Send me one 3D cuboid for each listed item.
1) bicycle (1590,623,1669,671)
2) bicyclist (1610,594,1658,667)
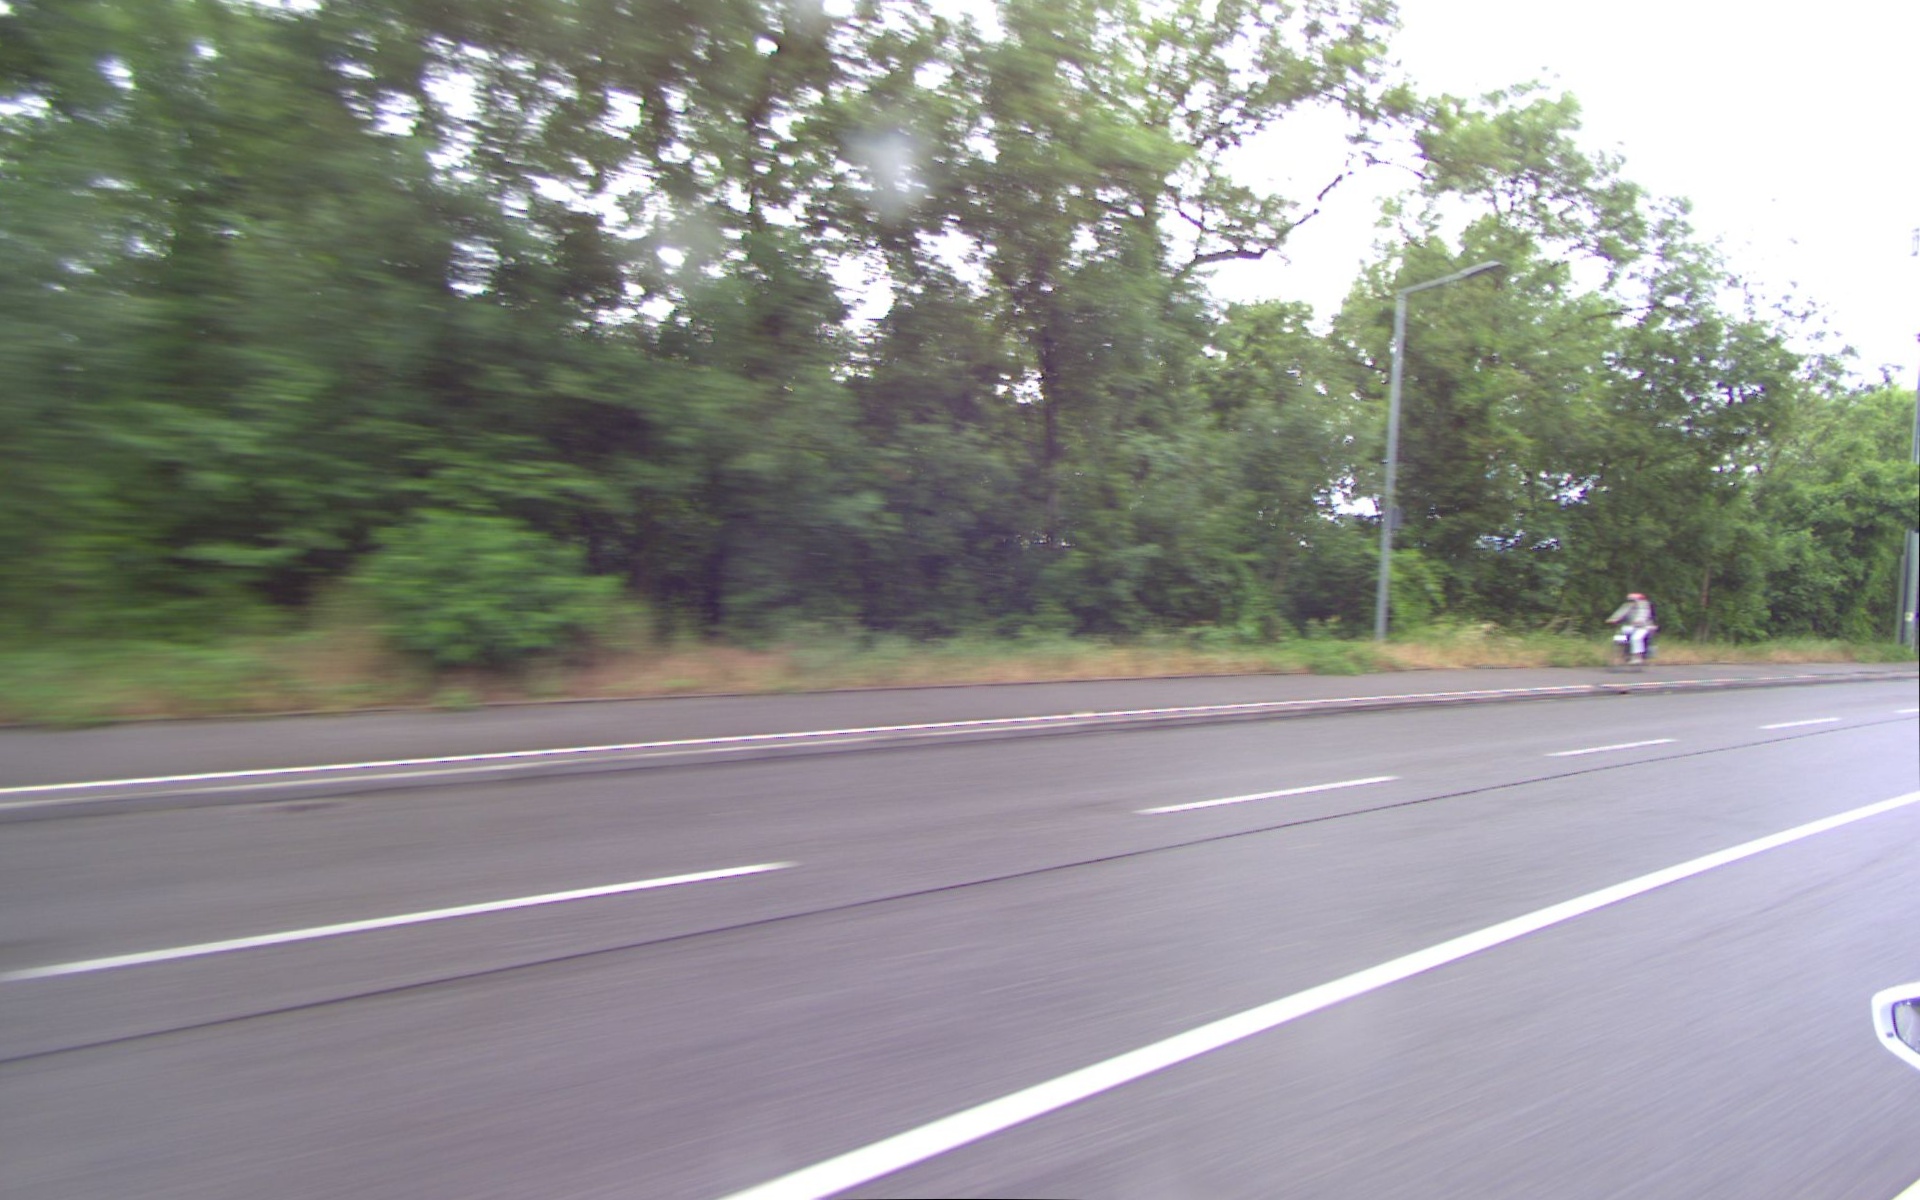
[{"bbox_3d":[15.115,1.068,22.664,1.990,1.017,0.451,2,3,-25],"label":"bicycle"},{"bbox_3d":[15.218,0.681,22.684,0.690,1.607,0.577,2,0,-25],"label":"bicyclist"}]
